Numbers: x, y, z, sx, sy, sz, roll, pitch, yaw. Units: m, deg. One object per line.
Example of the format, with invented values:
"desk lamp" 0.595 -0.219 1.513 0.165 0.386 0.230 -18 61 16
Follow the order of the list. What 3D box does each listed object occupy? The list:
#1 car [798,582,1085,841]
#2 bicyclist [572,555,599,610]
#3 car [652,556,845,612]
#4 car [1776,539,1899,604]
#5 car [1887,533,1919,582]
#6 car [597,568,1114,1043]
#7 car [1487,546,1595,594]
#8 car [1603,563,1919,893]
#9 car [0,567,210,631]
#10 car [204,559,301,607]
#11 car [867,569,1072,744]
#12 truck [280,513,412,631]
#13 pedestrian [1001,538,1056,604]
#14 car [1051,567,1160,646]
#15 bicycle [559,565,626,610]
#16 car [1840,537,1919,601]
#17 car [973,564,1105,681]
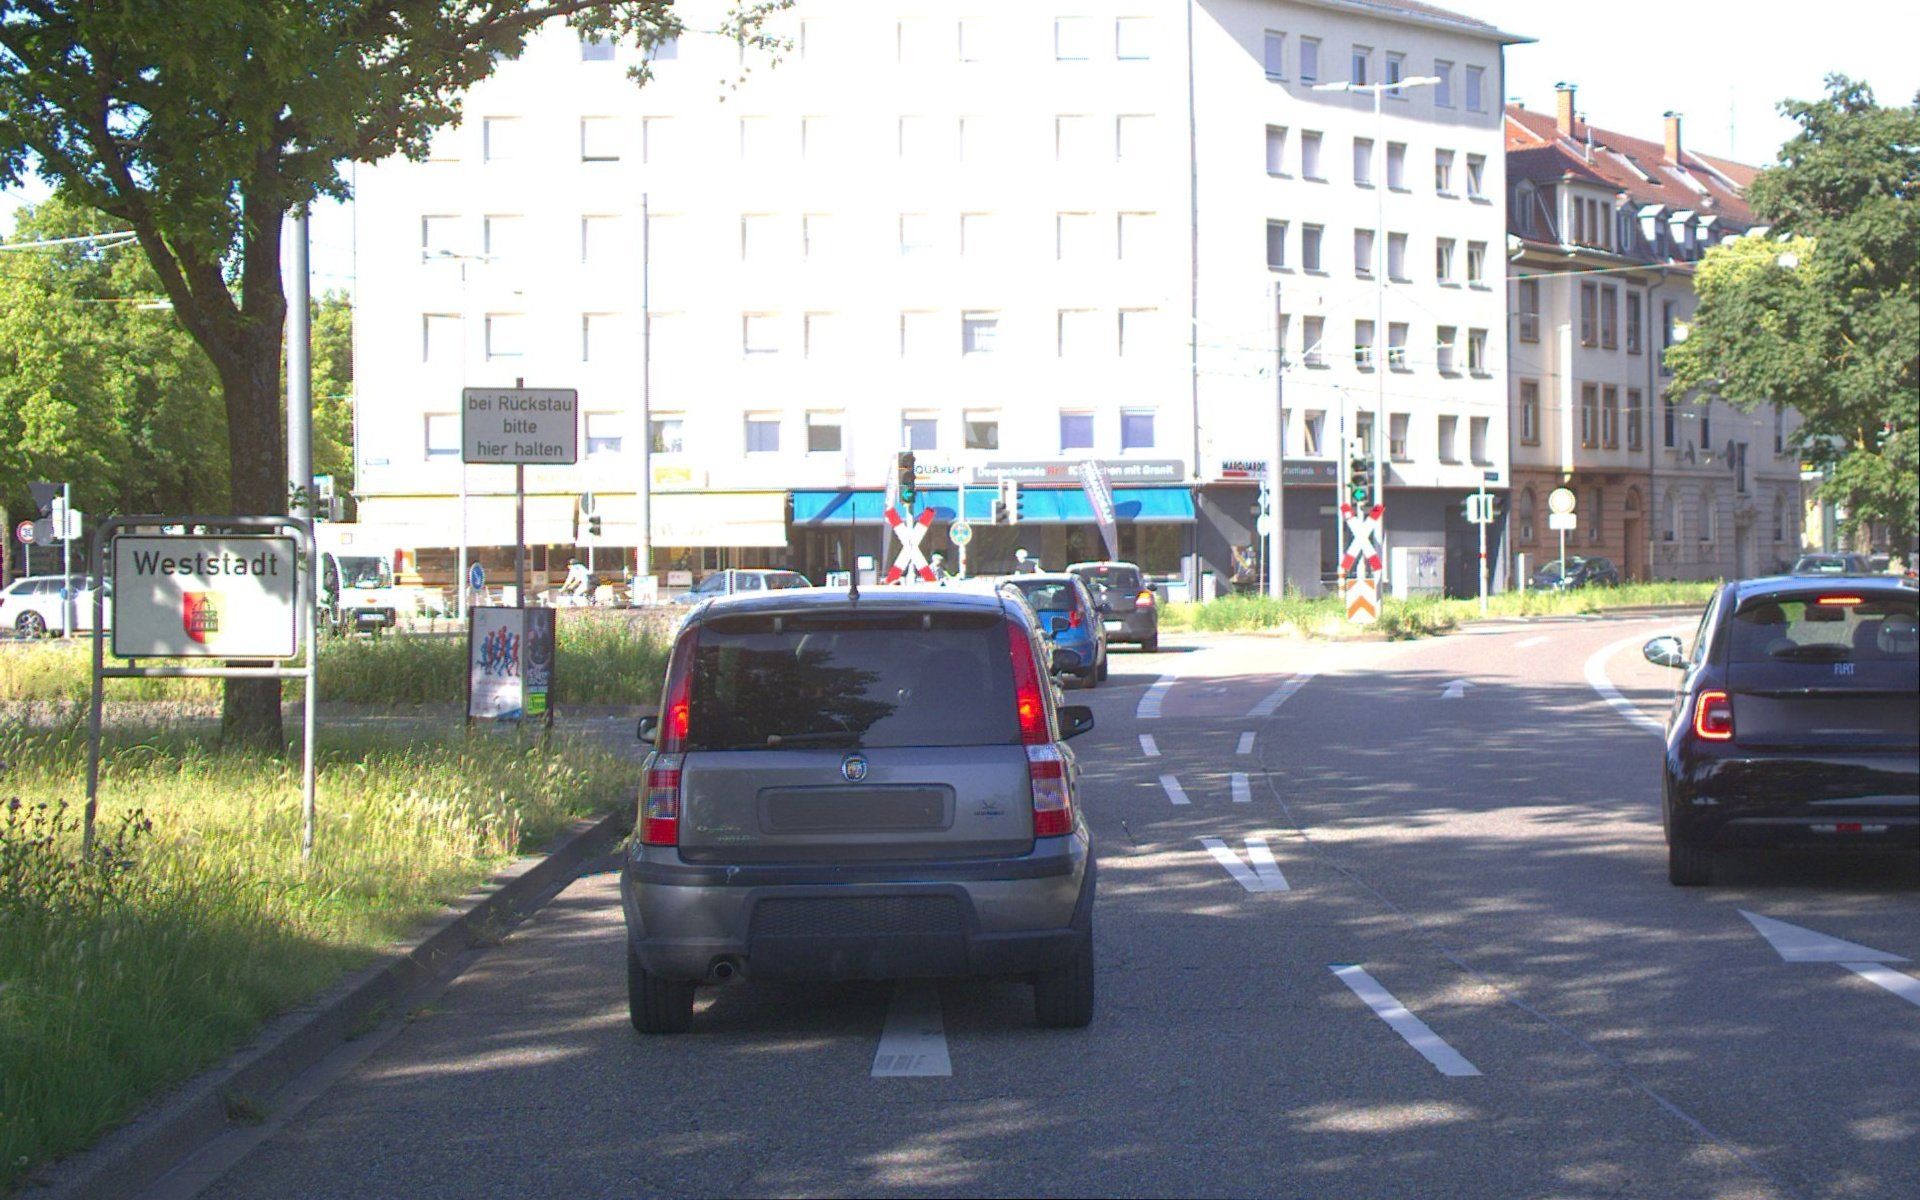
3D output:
"car" -0.139 0.624 21.409 1.621 1.424 3.688 0 1 -1
"bicyclist" -9.219 -0.432 84.660 0.595 1.352 0.532 -1 1 -14
"car" -4.808 -0.382 77.969 3.995 1.239 1.996 1 1 35
"car" 20.504 -0.690 80.283 1.778 1.437 3.612 1 2 32
"car" 31.795 -1.372 111.011 1.904 1.588 4.001 -1 1 -14
"car" -0.321 0.650 12.734 1.660 1.505 3.251 0 1 1
"car" 17.371 -0.915 102.666 1.794 1.391 3.718 0 1 34
"car" 4.336 0.575 17.642 1.674 1.498 3.561 0 1 5
"car" -19.628 -0.028 78.954 4.388 1.443 1.668 0 1 3
"car" -20.098 -0.498 97.732 1.993 1.305 4.000 0 1 -1
"car" 0.123 0.469 31.896 1.760 1.481 4.293 0 1 1
"truck" -13.005 -0.604 72.709 1.787 2.418 4.111 -1 1 -24
"pedestrian" 1.503 -0.626 75.312 0.774 1.423 0.938 1 0 -39
"car" 2.356 0.101 56.497 1.690 1.249 3.626 0 0 1
"bicycle" -9.060 -0.308 84.672 1.579 1.086 0.532 -1 1 -14
"car" 23.168 -0.791 84.433 1.823 1.503 3.993 0 1 33
"car" 1.063 0.267 44.782 1.646 1.433 3.396 0 1 3
